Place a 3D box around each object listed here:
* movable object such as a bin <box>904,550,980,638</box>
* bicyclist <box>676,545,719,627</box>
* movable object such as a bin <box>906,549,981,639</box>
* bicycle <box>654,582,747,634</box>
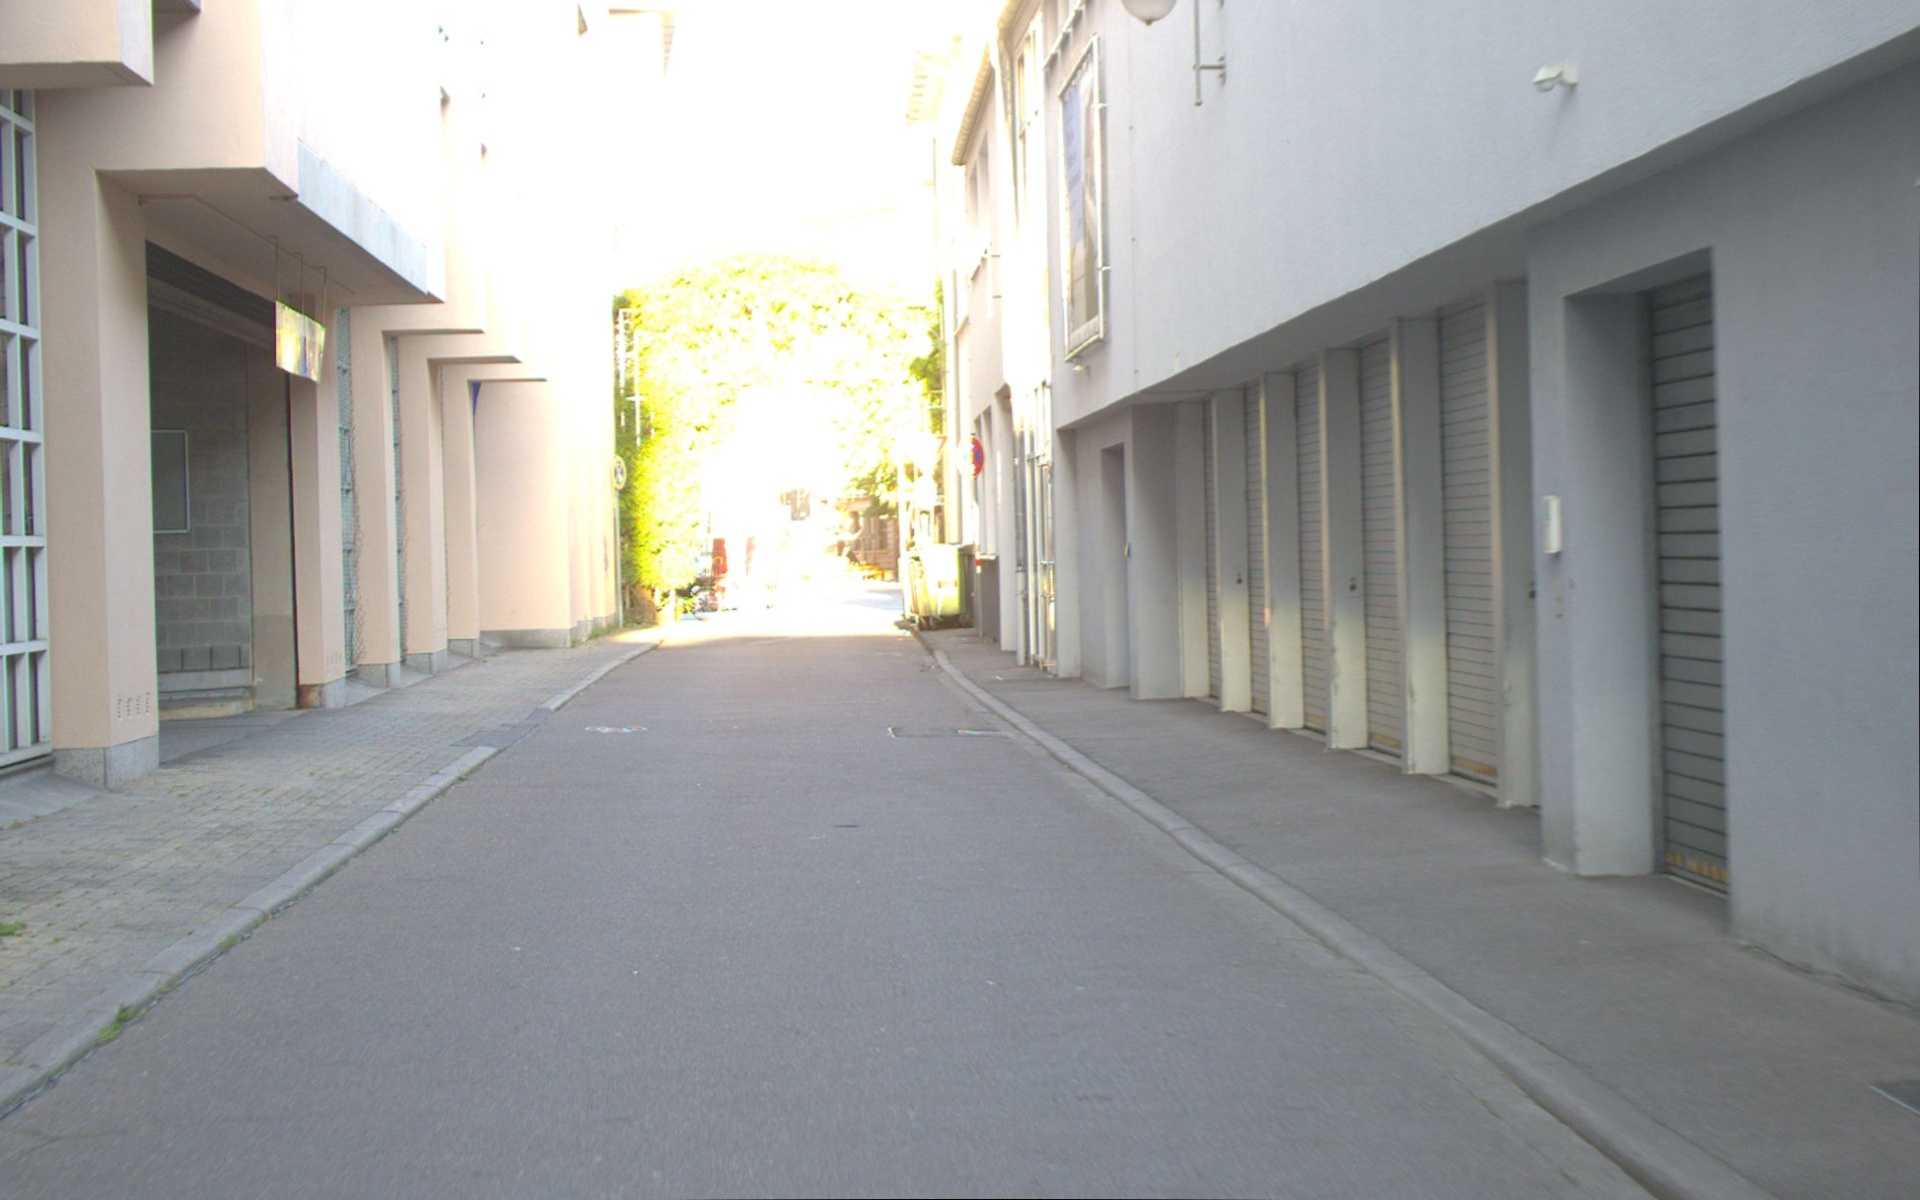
[{"bbox_3d":[-0.304,-0.102,56.277,1.064,1.362,1.342,-4,1,-4],"label":"movable object such as a bin"},{"bbox_3d":[-5.690,-0.311,74.526,0.879,1.779,0.736,0,1,-7],"label":"bicyclist"},{"bbox_3d":[-0.272,-0.094,54.872,0.937,1.362,1.342,-4,1,-8],"label":"movable object such as a bin"},{"bbox_3d":[-5.631,0.173,74.542,1.984,1.108,0.736,0,1,-7],"label":"bicycle"}]
